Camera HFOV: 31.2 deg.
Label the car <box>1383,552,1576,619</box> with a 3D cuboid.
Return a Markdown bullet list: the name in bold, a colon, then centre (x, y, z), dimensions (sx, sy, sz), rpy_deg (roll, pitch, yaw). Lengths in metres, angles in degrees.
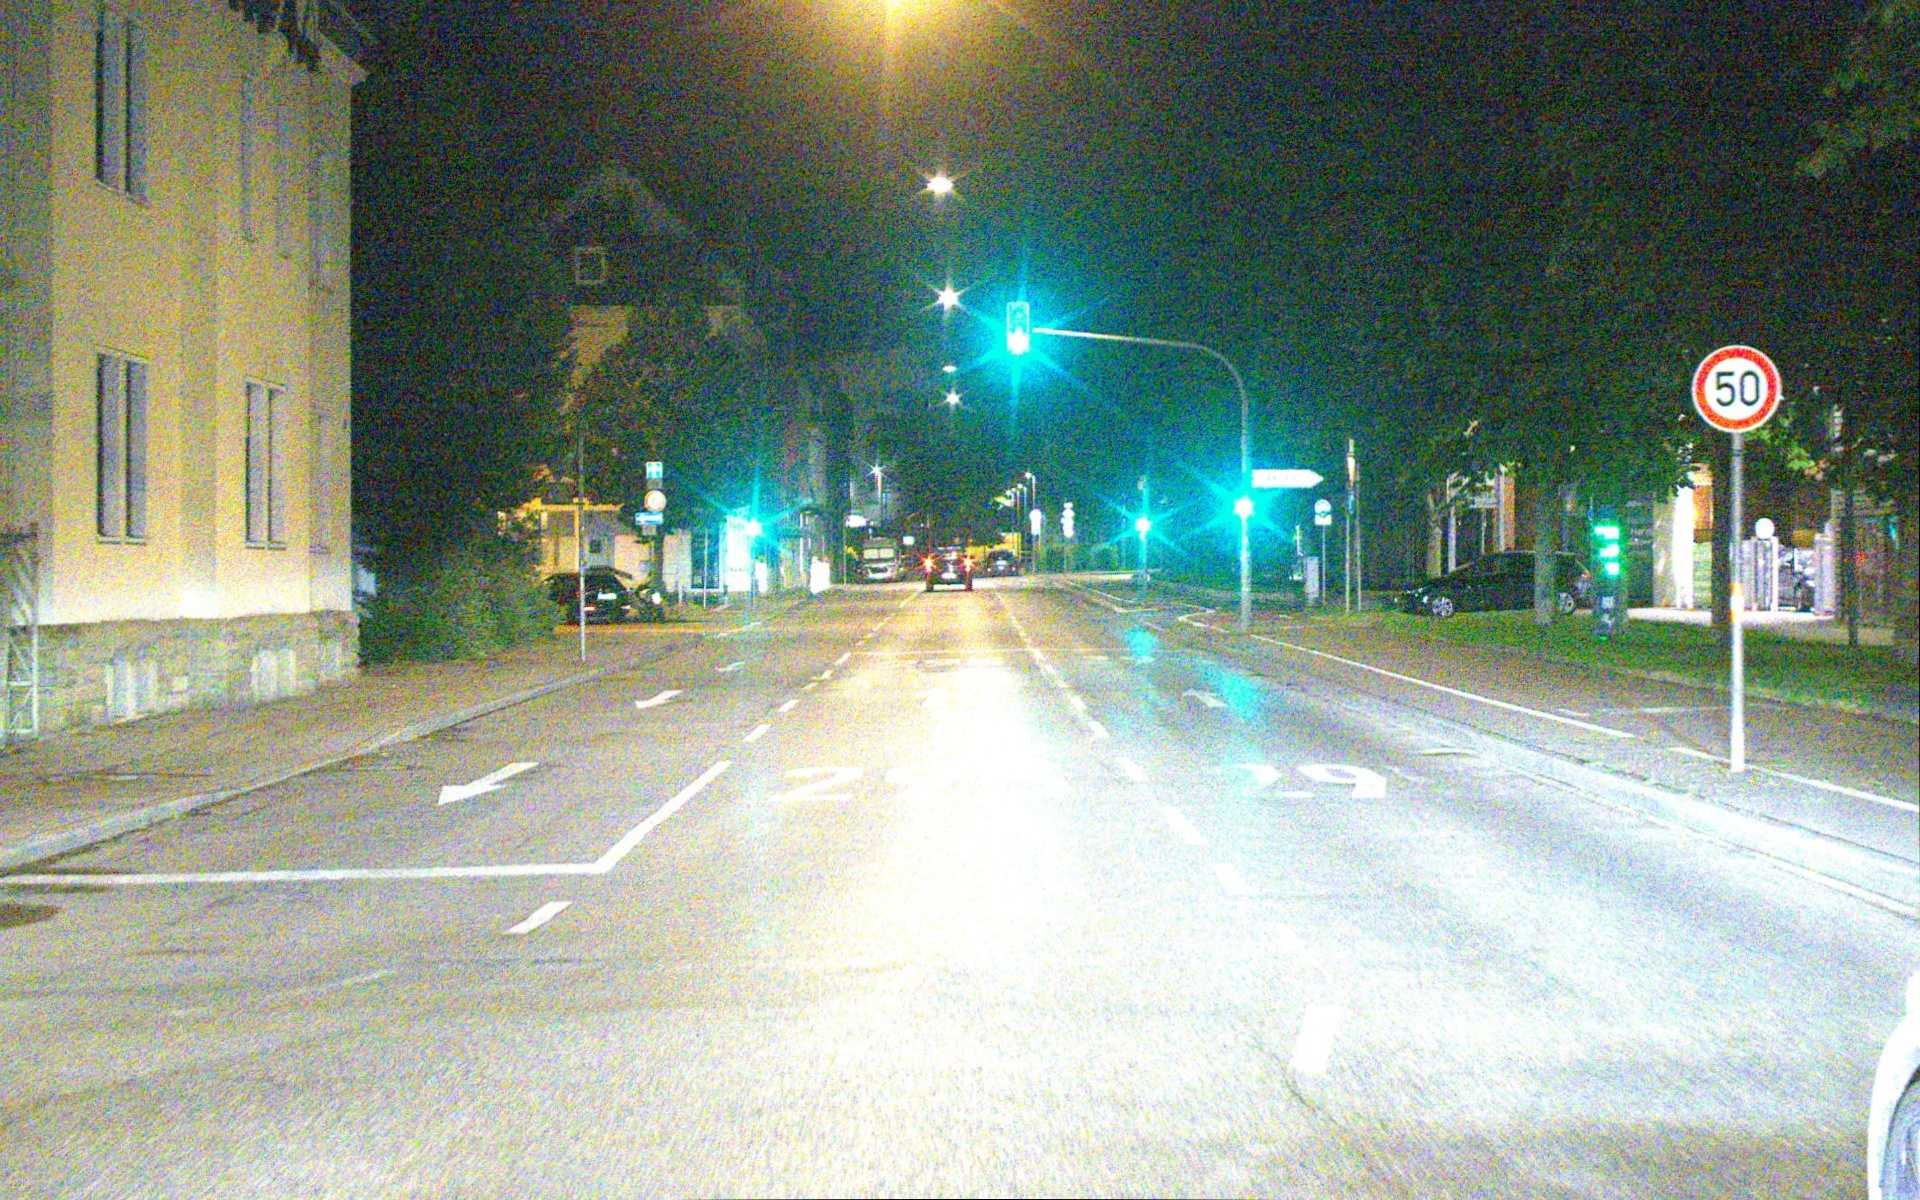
- **car**: centre (11.306, -0.325, 75.032), dimensions (3.987, 1.382, 1.771), rpy_deg (-1, 1, 3)

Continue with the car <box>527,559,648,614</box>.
- **car**: centre (-10.493, -0.387, 96.678), dimensions (1.803, 1.481, 4.000), rpy_deg (-1, 1, -32)

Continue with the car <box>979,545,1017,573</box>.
- **car**: centre (2.214, -2.410, 202.277), dimensions (1.993, 1.590, 4.000), rpy_deg (-1, 1, -2)

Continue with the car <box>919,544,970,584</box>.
- **car**: centre (-0.645, -1.470, 140.798), dimensions (1.993, 1.634, 4.000), rpy_deg (0, 0, -2)

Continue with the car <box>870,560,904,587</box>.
- **car**: centre (-4.006, -1.463, 187.887), dimensions (1.777, 1.385, 4.000), rpy_deg (-1, 1, -2)

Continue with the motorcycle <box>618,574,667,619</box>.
- **motorcycle**: centre (-8.666, -0.107, 93.834), dimensions (0.781, 1.200, 2.450), rpy_deg (-1, 1, -19)

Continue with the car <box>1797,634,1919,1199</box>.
- **car**: centre (2.508, 0.821, 4.559), dimensions (1.729, 1.430, 4.211), rpy_deg (1, 0, 0)

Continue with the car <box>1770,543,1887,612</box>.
- **car**: centre (19.266, -0.515, 76.384), dimensions (1.573, 1.482, 3.831), rpy_deg (-1, 1, -1)
